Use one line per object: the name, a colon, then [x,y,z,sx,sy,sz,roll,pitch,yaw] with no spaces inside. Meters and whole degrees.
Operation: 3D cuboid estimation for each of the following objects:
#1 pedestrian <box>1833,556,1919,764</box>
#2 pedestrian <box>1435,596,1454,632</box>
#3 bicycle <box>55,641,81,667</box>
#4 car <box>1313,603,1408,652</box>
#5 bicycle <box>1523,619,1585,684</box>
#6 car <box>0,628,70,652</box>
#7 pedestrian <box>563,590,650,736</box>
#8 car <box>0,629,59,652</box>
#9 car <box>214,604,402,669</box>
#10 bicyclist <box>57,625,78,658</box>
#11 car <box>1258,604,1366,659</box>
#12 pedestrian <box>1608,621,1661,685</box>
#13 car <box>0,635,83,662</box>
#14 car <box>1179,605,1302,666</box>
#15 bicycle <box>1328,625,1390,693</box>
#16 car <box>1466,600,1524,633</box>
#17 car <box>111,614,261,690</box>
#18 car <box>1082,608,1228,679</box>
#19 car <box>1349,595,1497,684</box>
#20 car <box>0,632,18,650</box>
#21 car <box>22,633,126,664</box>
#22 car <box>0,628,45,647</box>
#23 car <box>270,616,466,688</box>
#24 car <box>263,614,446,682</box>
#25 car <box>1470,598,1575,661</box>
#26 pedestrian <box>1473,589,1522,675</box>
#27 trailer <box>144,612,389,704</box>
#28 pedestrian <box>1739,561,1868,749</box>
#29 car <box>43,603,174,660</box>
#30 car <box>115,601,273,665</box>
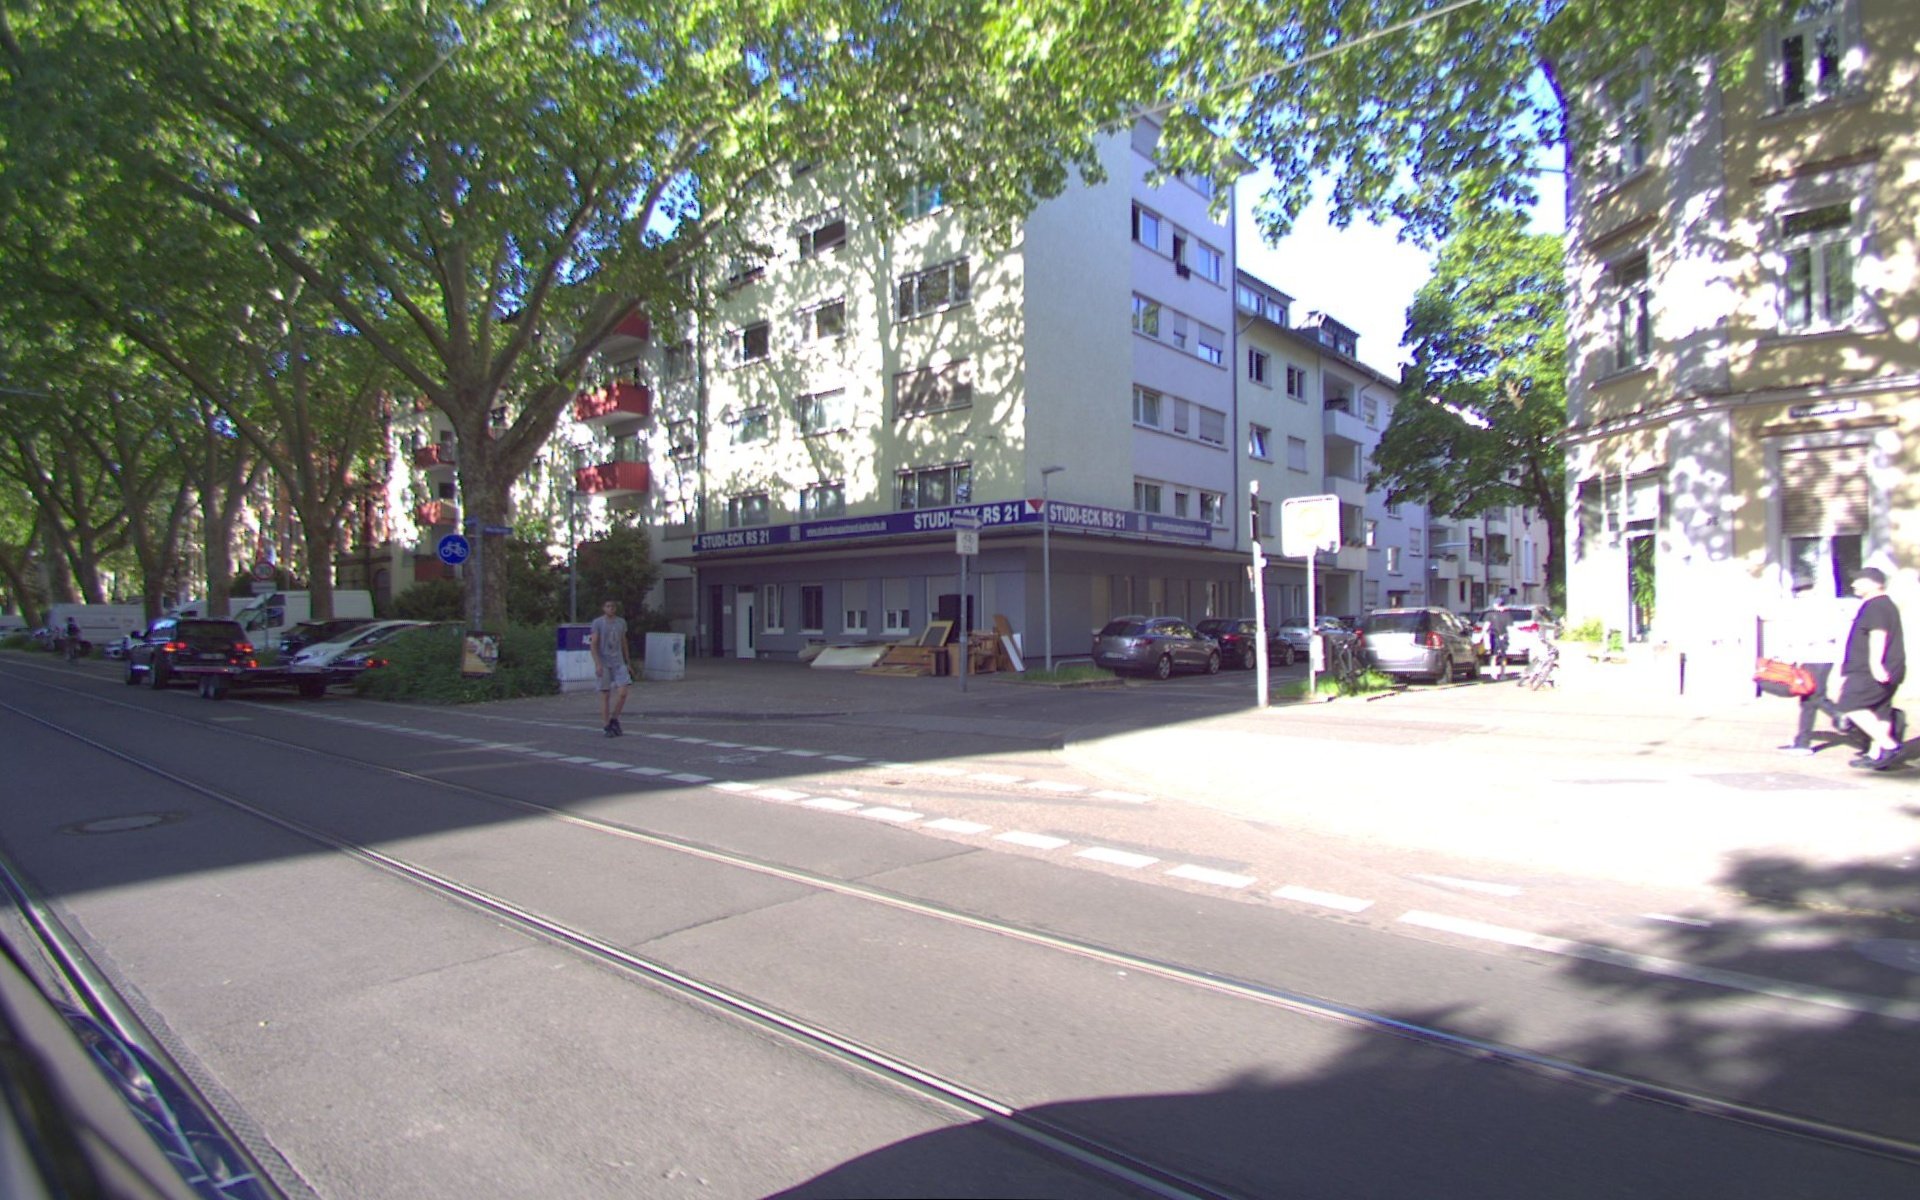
pedestrian: [8.302,0.514,8.982,0.734,1.770,0.731,-1,-1,36]
pedestrian: [24.374,0.719,50.943,0.723,1.793,0.661,-1,0,38]
bicycle: [-33.282,2.018,37.756,1.556,0.913,0.527,-1,0,41]
car: [14.461,0.958,36.444,1.998,1.619,4.100,-1,0,40]
bicycle: [10.896,0.927,18.615,0.652,1.070,1.854,-5,-2,22]
car: [-63.757,2.730,69.336,1.998,1.478,3.948,-1,0,39]
pedestrian: [-4.556,0.783,13.045,0.798,1.805,0.693,-1,0,28]
car: [-66.365,2.847,71.410,1.998,1.478,3.948,-1,0,39]
car: [-22.299,1.178,34.818,1.996,2.010,5.074,-1,0,36]
bicyclist: [-33.336,1.540,37.797,0.665,1.222,0.527,-1,-1,41]
car: [11.472,0.977,32.835,1.998,1.619,4.100,-1,0,40]
pedestrian: [11.253,0.878,16.895,0.540,1.048,0.542,-1,0,8]
car: [-56.563,2.928,62.039,1.998,1.478,3.948,-1,0,39]
car: [8.106,0.982,29.066,1.895,1.619,4.100,-1,-2,40]
bicycle: [6.997,1.002,17.683,0.654,1.070,1.847,-1,0,33]
car: [27.785,0.825,52.538,1.836,1.619,4.100,-1,0,40]
car: [-18.859,1.239,24.606,4.178,1.696,1.904,-1,-4,39]
car: [4.944,1.009,25.304,1.833,1.488,4.100,2,2,40]
car: [10.040,0.808,21.801,1.798,1.650,3.961,-6,-4,40]
car: [-82.126,3.482,85.197,1.791,1.478,3.948,-1,0,39]
car: [-47.877,2.580,54.736,1.998,1.478,3.948,-1,0,39]
car: [-76.909,3.031,81.895,1.998,1.478,3.948,-1,0,39]
car: [-15.157,1.275,26.072,1.907,1.622,3.948,-1,0,39]
car: [-16.779,1.269,28.182,1.998,1.657,3.948,-1,0,39]
car: [16.431,0.809,29.477,1.892,1.684,4.100,-2,-1,40]
pedestrian: [11.040,0.640,20.774,0.796,1.721,0.775,-1,-1,34]
trailer: [-14.651,1.154,21.188,6.577,1.644,2.422,-1,-4,39]
pedestrian: [8.370,0.522,10.064,0.658,1.793,0.726,0,0,-17]
car: [-40.959,1.456,48.773,1.999,2.552,4.601,-1,0,41]
car: [-29.701,1.225,39.337,1.999,2.323,4.601,-1,0,41]
